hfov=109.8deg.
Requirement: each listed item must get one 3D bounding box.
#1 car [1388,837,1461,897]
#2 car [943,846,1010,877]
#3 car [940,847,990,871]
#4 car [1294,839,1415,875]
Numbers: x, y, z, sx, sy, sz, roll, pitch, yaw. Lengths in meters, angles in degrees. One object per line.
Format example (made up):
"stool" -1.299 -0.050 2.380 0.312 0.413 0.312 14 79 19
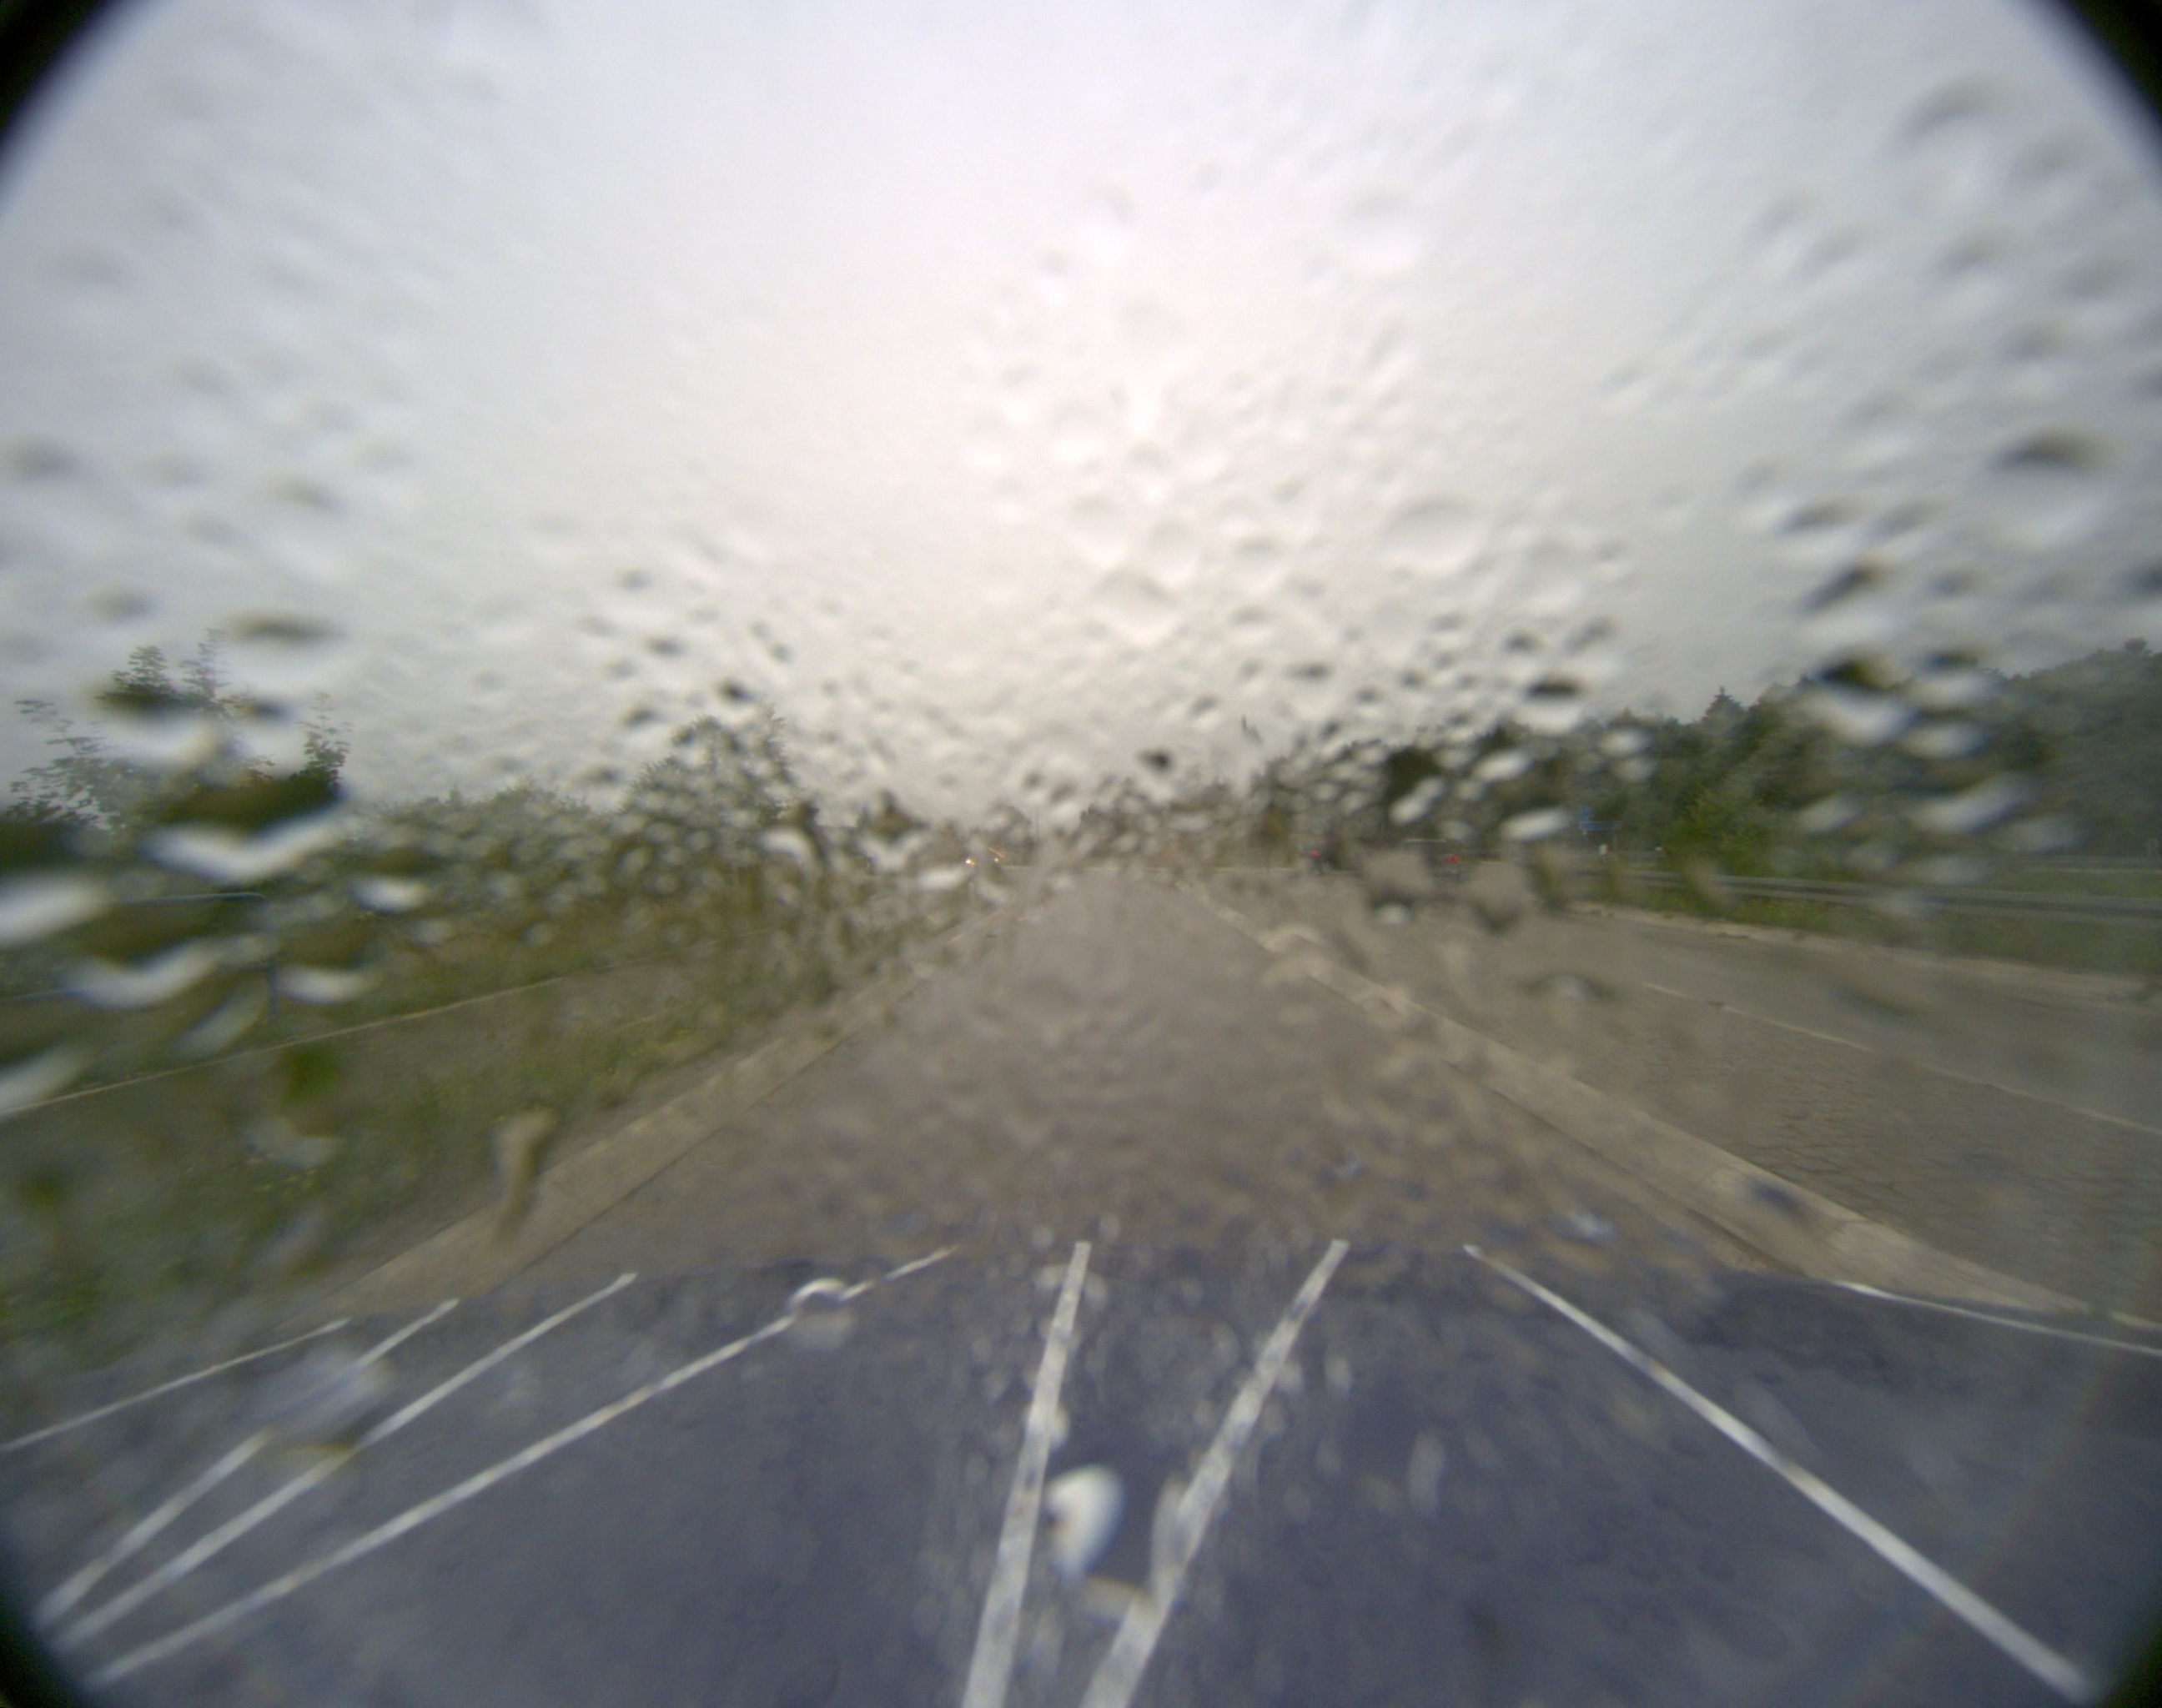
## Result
"car" 10.331 0.335 22.945 1.802 1.566 4.005 -1 2 24
"car" -5.071 0.365 36.301 1.952 1.363 4.494 0 -1 -25
"car" -7.200 0.315 47.746 1.761 1.412 4.508 0 -1 10
"car" 11.642 0.116 32.484 4.501 1.412 1.874 -1 0 -4
